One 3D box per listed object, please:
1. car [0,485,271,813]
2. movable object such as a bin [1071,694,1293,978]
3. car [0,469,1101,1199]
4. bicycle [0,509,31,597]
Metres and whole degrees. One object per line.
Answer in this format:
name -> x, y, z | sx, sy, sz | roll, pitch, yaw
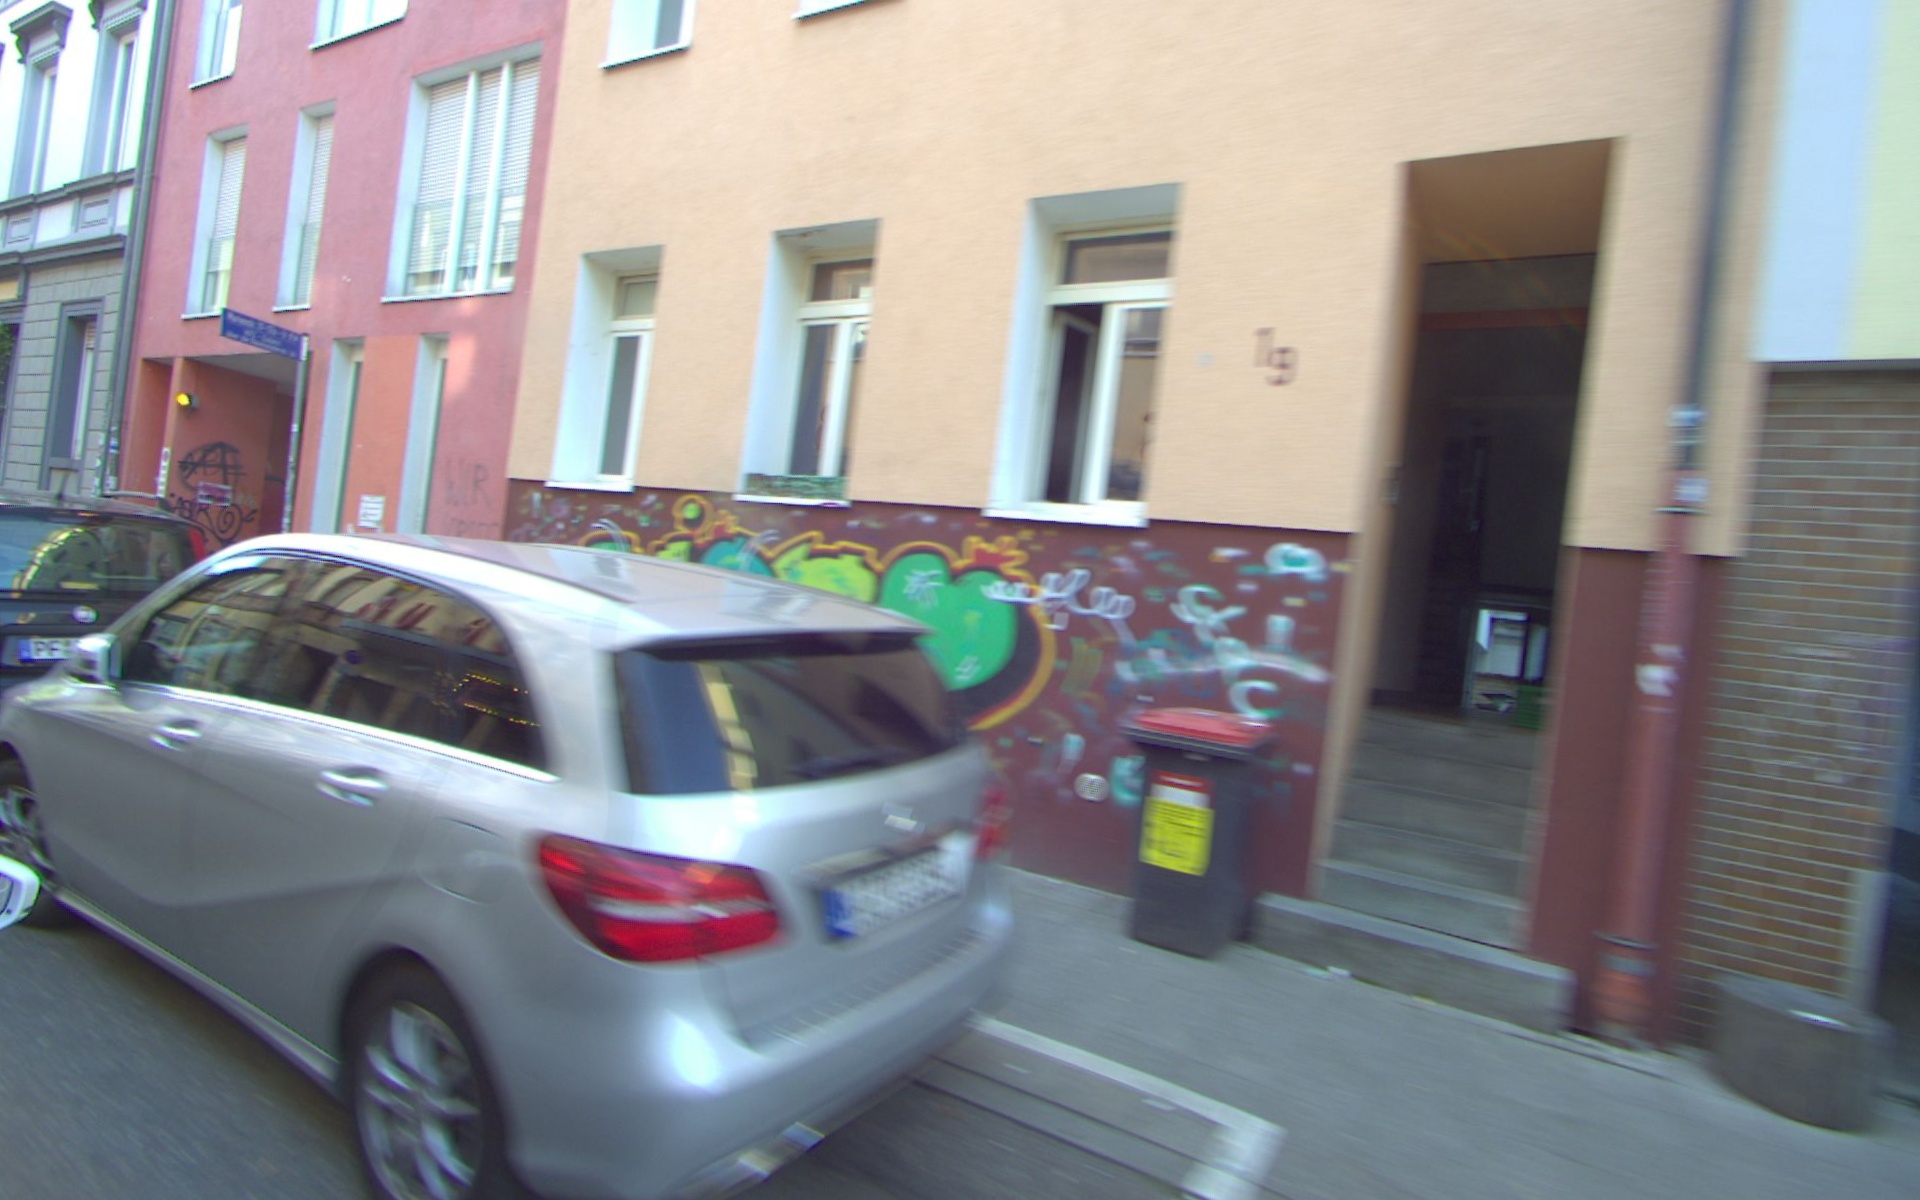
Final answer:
car -> -5.846, 0.095, 5.969 | 3.393, 1.559, 1.603 | 7, 2, 32
movable object such as a bin -> 1.047, 1.039, 4.706 | 0.724, 1.072, 0.693 | 7, 2, 31
car -> -1.817, 0.542, 3.589 | 4.102, 1.575, 1.749 | 7, -1, 32
bicycle -> -13.210, -0.693, 13.338 | 1.868, 1.111, 0.711 | 6, 2, 28
